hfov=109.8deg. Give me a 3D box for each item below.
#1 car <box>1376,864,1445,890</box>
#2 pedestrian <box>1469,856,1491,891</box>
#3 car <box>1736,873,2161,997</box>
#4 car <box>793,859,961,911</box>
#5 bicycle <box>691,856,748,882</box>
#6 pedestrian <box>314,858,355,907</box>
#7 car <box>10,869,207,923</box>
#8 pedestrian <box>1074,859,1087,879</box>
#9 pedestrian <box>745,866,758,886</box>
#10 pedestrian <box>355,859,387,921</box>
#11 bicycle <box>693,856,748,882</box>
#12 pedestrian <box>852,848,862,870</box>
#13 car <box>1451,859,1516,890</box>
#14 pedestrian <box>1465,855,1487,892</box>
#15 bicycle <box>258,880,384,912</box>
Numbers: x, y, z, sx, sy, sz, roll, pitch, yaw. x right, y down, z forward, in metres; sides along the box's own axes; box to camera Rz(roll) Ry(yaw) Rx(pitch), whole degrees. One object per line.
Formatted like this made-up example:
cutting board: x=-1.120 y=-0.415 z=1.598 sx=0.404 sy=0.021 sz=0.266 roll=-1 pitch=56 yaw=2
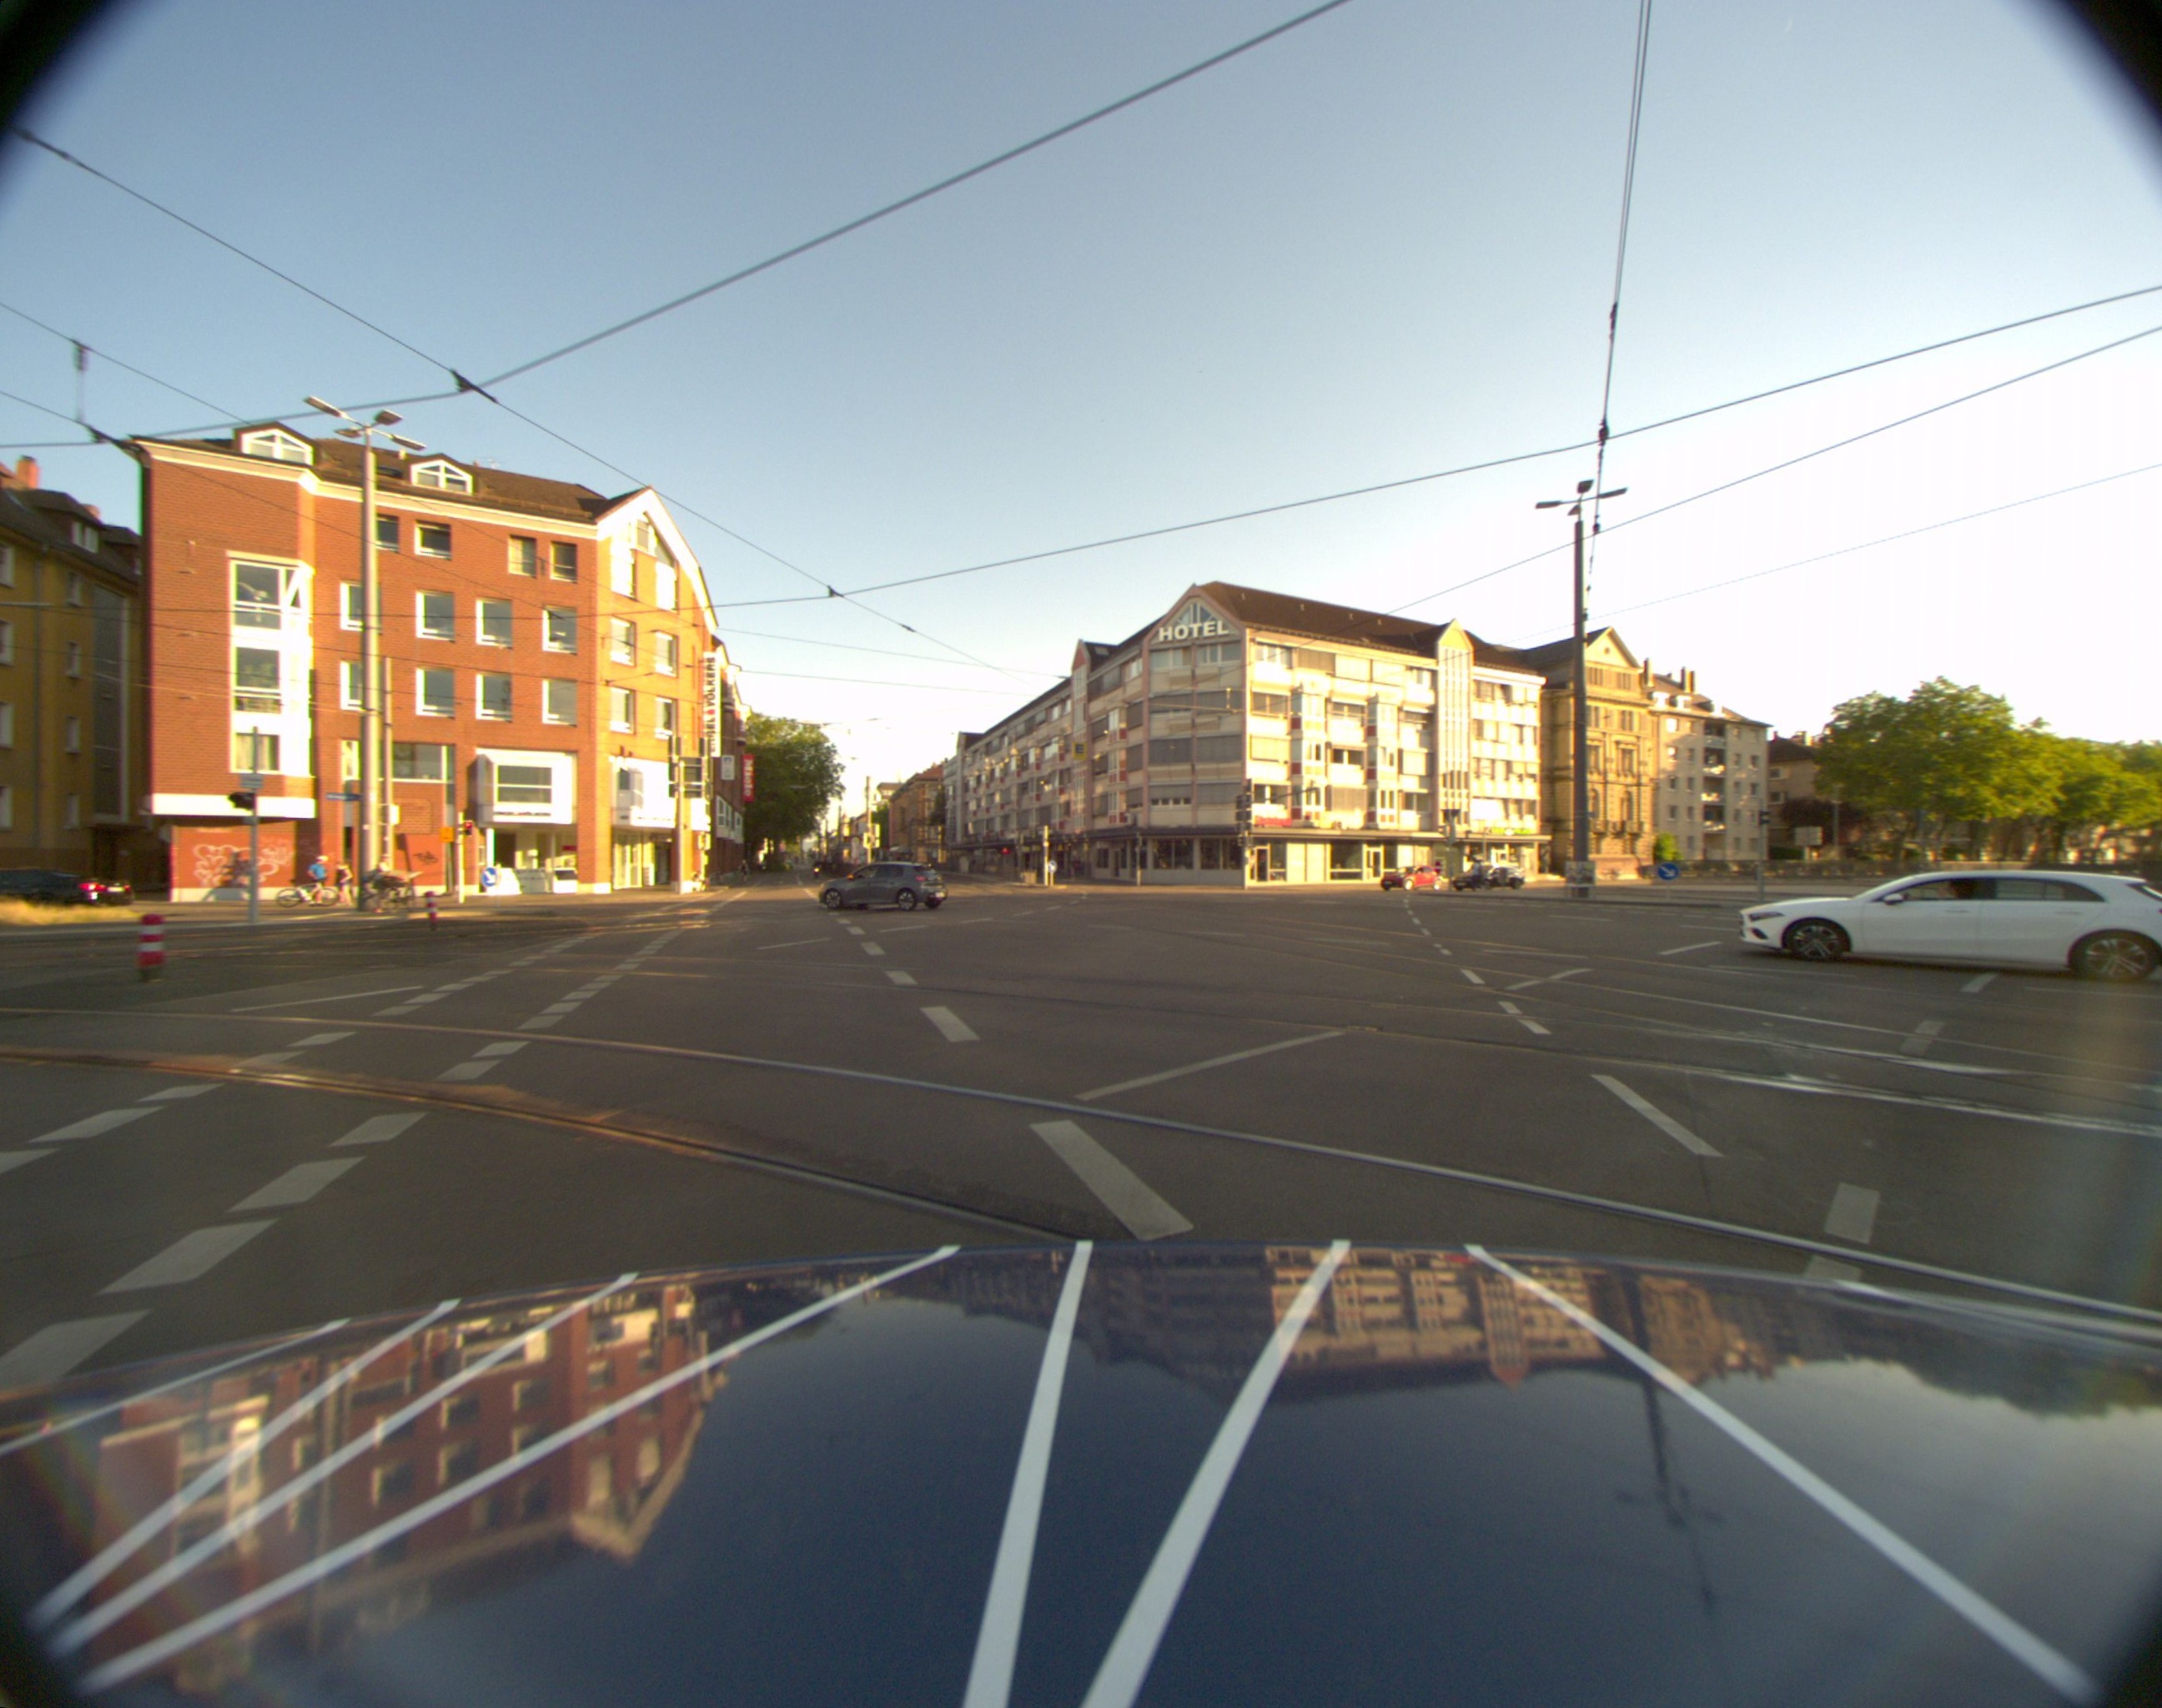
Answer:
car: x=19.386 y=1.328 z=44.688 sx=3.902 sy=1.413 sz=1.645 roll=0 pitch=0 yaw=-27
pedestrian: x=18.251 y=0.877 z=34.793 sx=0.704 sy=1.573 sz=0.827 roll=0 pitch=0 yaw=14
car: x=12.805 y=1.057 z=11.253 sx=1.821 sy=1.440 sz=4.550 roll=0 pitch=0 yaw=-45
car: x=-6.305 y=0.911 z=23.611 sx=4.693 sy=1.495 sz=1.920 roll=0 pitch=0 yaw=16
bicycle: x=-23.707 y=0.972 z=49.857 sx=3.311 sy=1.716 sz=1.067 roll=0 pitch=0 yaw=-22
pedestrian: x=-27.686 y=1.035 z=28.195 sx=0.874 sy=1.768 sz=0.915 roll=0 pitch=1 yaw=-29
car: x=-30.347 y=1.232 z=23.945 sx=1.849 sy=1.486 sz=4.285 roll=-1 pitch=-1 yaw=-21
pedestrian: x=-0.020 y=1.186 z=61.834 sx=0.709 sy=1.540 sz=0.904 roll=1 pitch=3 yaw=-24
pedestrian: x=-33.814 y=2.222 z=77.957 sx=1.090 sy=2.002 sz=1.082 roll=0 pitch=0 yaw=-26
pedestrian: x=-19.794 y=0.988 z=21.186 sx=0.516 sy=1.698 sz=0.418 roll=0 pitch=1 yaw=-24
bicycle: x=-24.132 y=1.001 z=50.945 sx=3.312 sy=1.716 sz=1.067 roll=0 pitch=0 yaw=-23
pedestrian: x=-20.708 y=0.468 z=70.351 sx=0.812 sy=2.002 sz=0.676 roll=0 pitch=1 yaw=-25
car: x=22.453 y=1.094 z=42.260 sx=2.216 sy=1.546 sz=4.622 roll=0 pitch=0 yaw=41
pedestrian: x=17.687 y=0.875 z=34.020 sx=0.726 sy=1.639 sz=0.772 roll=0 pitch=0 yaw=14
bicycle: x=-27.265 y=1.487 z=27.371 sx=3.069 sy=1.011 sz=0.929 roll=0 pitch=0 yaw=-31
